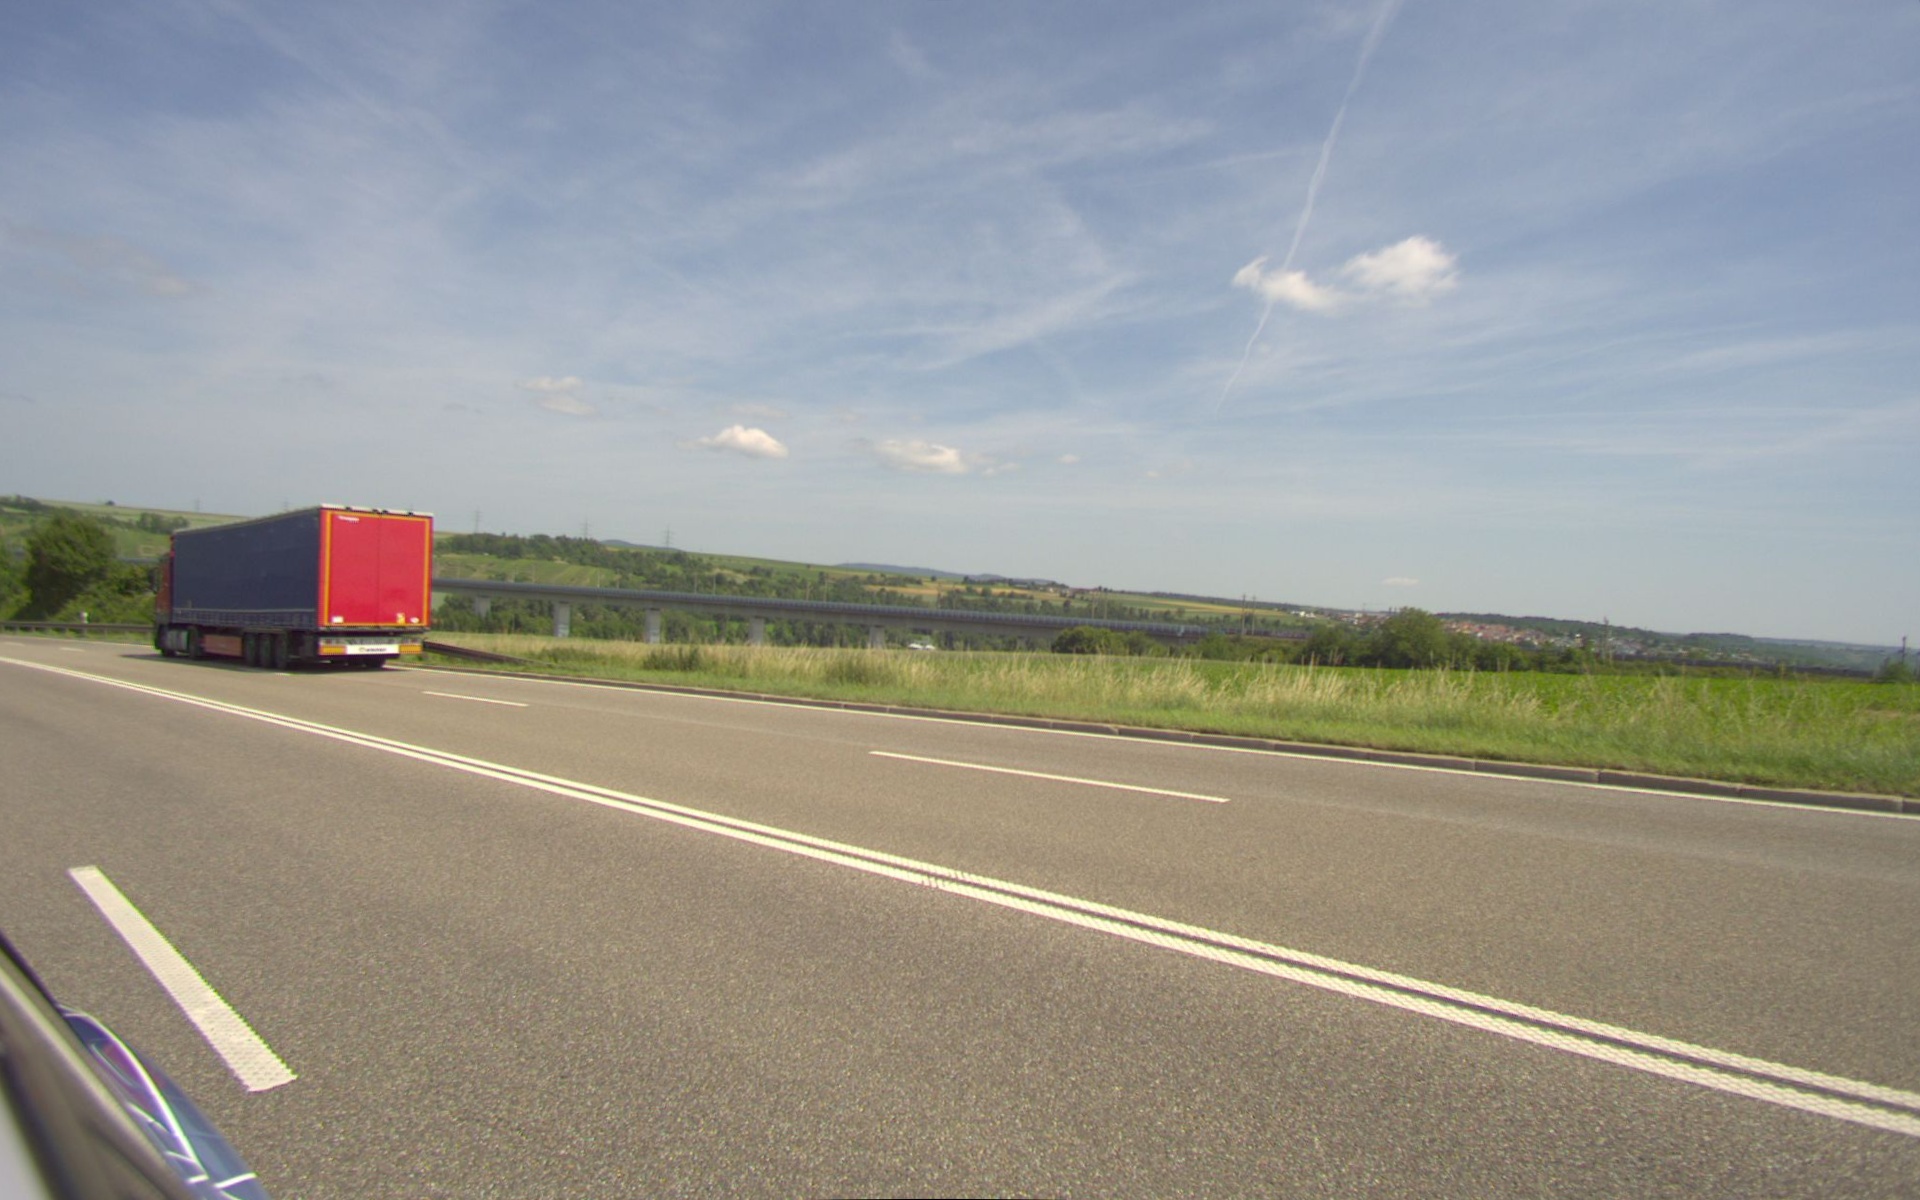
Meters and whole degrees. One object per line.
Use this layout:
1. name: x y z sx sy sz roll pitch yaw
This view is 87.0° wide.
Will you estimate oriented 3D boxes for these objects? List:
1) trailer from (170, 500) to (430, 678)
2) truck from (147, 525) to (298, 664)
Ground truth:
1. trailer: -19.331 -0.157 28.963 13.575 4.133 2.519 -1 -2 41
2. truck: -24.239 -0.101 33.155 6.084 4.133 2.590 -1 -2 40
